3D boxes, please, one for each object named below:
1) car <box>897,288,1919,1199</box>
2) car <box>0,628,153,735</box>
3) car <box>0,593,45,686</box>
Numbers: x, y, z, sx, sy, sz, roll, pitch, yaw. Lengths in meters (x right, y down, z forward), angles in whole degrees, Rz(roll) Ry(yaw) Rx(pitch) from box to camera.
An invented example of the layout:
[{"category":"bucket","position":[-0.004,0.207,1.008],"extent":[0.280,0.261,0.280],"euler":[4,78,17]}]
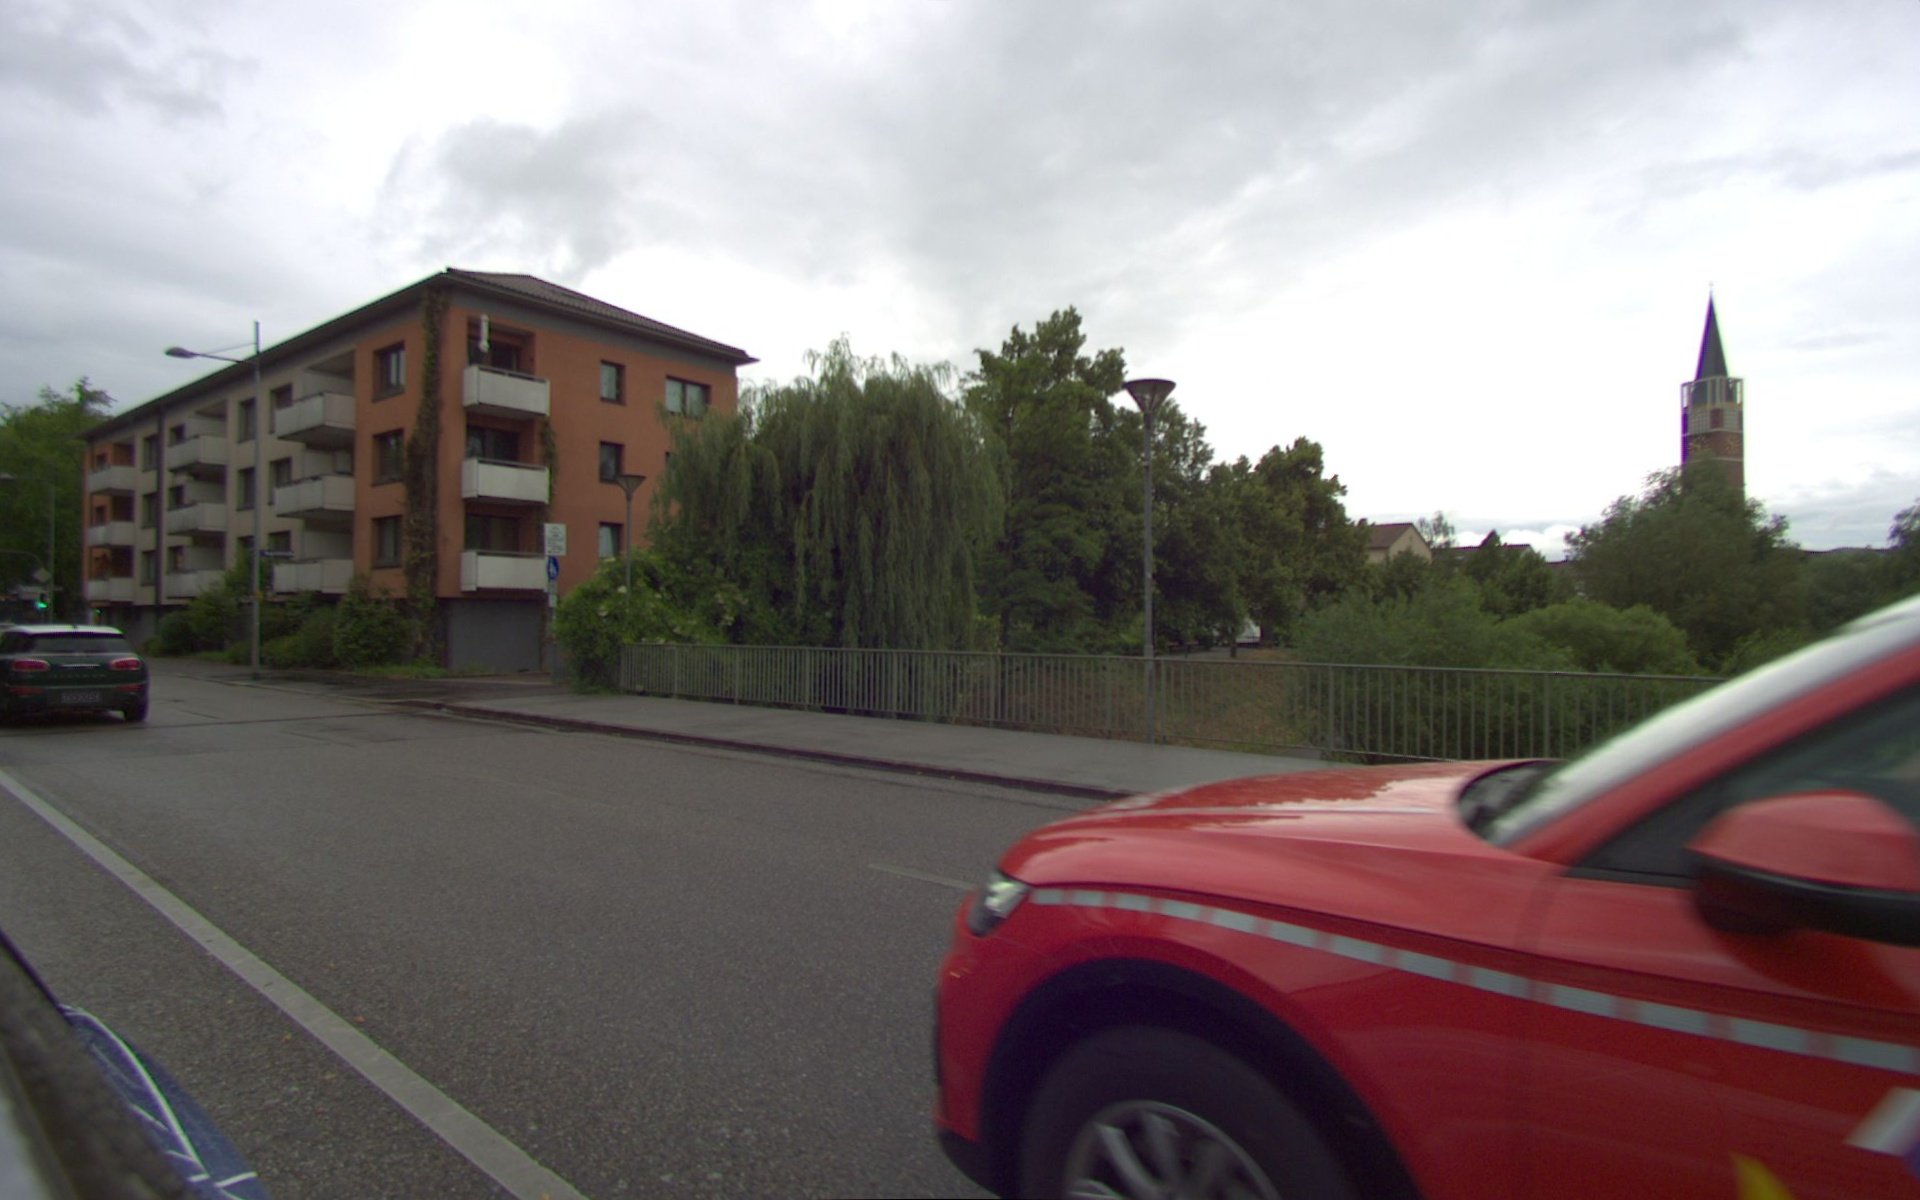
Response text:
[{"category":"car","position":[2.125,0.559,1.341],"extent":[4.369,1.748,1.869],"euler":[-1,-3,41]},{"category":"car","position":[-14.001,1.160,15.610],"extent":[3.998,1.450,1.727],"euler":[-1,-2,41]},{"category":"car","position":[-26.933,1.069,27.453],"extent":[6.504,2.326,2.266],"euler":[-2,-4,41]}]
